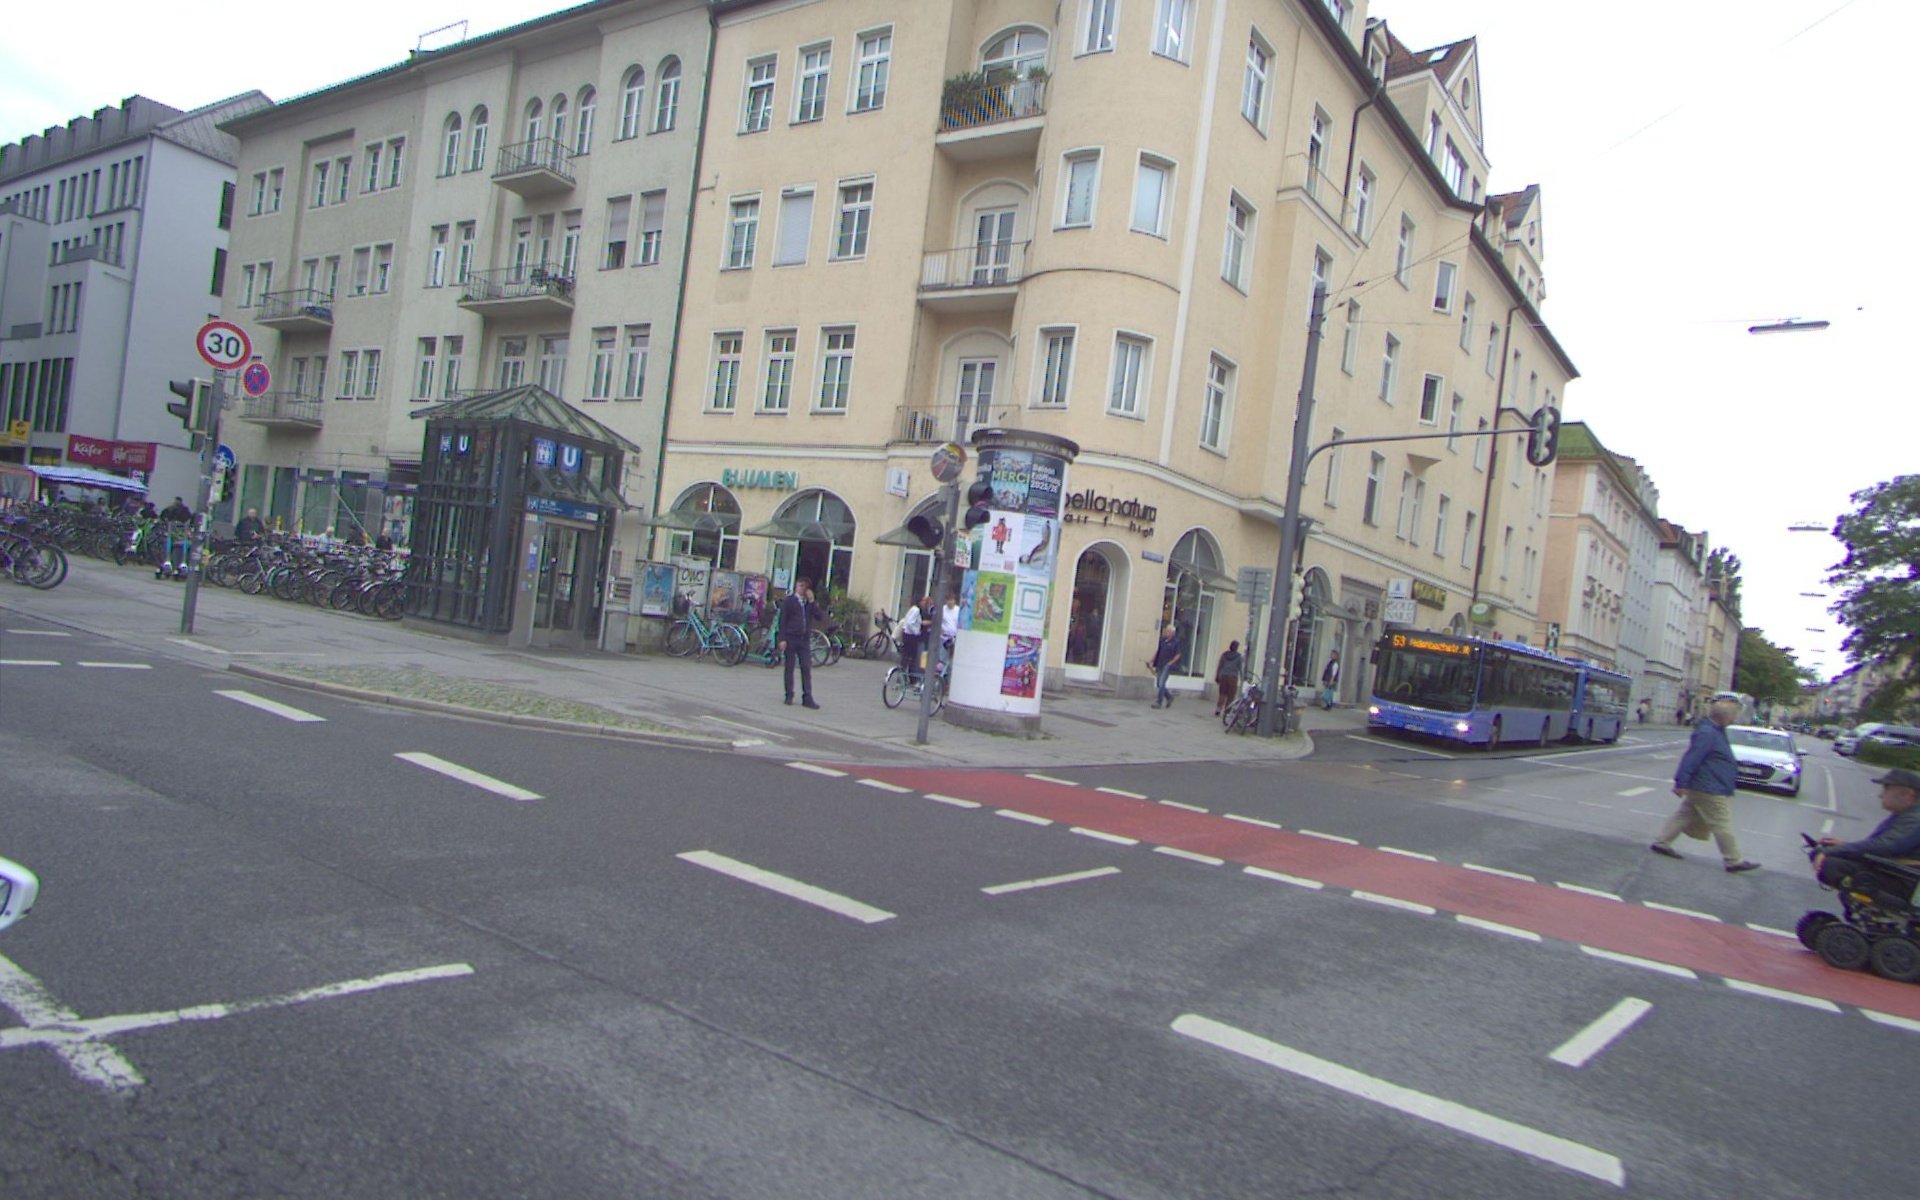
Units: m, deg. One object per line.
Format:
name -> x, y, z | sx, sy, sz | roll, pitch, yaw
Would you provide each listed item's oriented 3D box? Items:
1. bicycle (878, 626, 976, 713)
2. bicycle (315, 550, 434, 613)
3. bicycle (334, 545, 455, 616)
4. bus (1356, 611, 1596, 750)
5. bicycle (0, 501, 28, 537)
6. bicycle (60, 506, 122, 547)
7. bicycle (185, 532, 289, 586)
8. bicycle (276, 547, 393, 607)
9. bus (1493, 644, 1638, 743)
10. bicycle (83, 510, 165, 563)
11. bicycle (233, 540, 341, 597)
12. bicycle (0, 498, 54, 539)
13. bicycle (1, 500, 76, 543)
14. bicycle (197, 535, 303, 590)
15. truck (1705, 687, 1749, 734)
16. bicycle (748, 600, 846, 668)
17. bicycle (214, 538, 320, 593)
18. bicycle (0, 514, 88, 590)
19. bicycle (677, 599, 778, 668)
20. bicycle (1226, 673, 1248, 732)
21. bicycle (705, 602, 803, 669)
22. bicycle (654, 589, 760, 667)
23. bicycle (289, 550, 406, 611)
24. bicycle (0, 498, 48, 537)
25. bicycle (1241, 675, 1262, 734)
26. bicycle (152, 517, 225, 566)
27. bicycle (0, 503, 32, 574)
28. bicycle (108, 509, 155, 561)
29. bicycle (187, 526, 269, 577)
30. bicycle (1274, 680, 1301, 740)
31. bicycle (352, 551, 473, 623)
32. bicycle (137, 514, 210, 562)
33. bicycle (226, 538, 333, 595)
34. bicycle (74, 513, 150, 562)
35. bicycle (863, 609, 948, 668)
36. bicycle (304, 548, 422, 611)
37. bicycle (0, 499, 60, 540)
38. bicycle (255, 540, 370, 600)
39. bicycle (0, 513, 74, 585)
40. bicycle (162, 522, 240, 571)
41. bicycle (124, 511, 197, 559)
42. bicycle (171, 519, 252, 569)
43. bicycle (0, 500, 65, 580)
bicycle -> -0.482, 1.057, 15.247 | 0.516, 1.175, 1.569 | 10, 2, 34
bicycle -> -10.868, -0.321, 18.738 | 0.500, 0.976, 1.841 | 8, 0, 30
bicycle -> -10.344, -0.333, 18.471 | 0.500, 1.107, 1.841 | 8, 0, 30
bus -> 15.818, 2.560, 29.897 | 2.776, 3.003, 13.540 | 9, 1, 42
bicycle -> -28.307, -2.439, 29.421 | 0.363, 0.975, 1.431 | 8, 0, 37
bicycle -> -25.029, -2.121, 28.997 | 0.363, 0.993, 1.246 | 8, 0, 28
bicycle -> -15.773, -0.873, 21.992 | 0.363, 0.976, 1.756 | 8, 0, 32
bicycle -> -12.216, -0.425, 19.707 | 0.500, 0.976, 1.841 | 8, 0, 30
bus -> 23.402, 3.638, 38.556 | 2.776, 3.004, 9.540 | 9, 1, 42
bicycle -> -20.501, -1.539, 24.695 | 0.363, 1.090, 1.419 | 8, 0, 32
bicycle -> -13.802, -0.627, 20.681 | 0.445, 0.976, 1.757 | 8, 0, 30
bicycle -> -26.595, -2.311, 28.507 | 0.364, 0.975, 1.259 | 8, 0, 41
bicycle -> -25.001, -2.123, 27.315 | 0.363, 0.975, 1.405 | 8, 0, 26
bicycle -> -15.220, -0.785, 21.603 | 0.445, 0.976, 1.756 | 8, 0, 32
truck -> 77.372, 11.160, 101.314 | 2.869, 3.961, 18.832 | 7, -1, 39
bicycle -> -3.165, 0.659, 19.472 | 1.833, 1.072, 0.495 | 7, 1, 27
bicycle -> -14.709, -0.715, 21.392 | 0.445, 0.976, 1.757 | 8, 0, 30
bicycle -> -14.756, -0.784, 15.728 | 1.575, 1.041, 0.498 | 8, 1, -11
bicycle -> -4.142, 0.589, 17.888 | 1.835, 0.987, 0.495 | 7, 1, 32
bicycle -> 5.454, 1.992, 19.755 | 0.244, 1.046, 1.584 | 7, 0, 17
bicycle -> -3.794, 0.637, 18.471 | 1.835, 0.987, 0.495 | 7, 1, 32
bicycle -> -4.407, 0.478, 17.468 | 1.835, 1.121, 0.567 | 7, 1, 32
bicycle -> -11.779, -0.357, 19.402 | 0.500, 0.976, 1.841 | 8, 0, 30
bicycle -> -26.998, -2.367, 28.752 | 0.363, 0.975, 1.261 | 8, 0, 34
bicycle -> 5.706, 2.028, 19.694 | 0.244, 1.046, 1.584 | 7, 0, 17
bicycle -> -20.157, -1.523, 26.320 | 0.362, 1.088, 1.430 | 8, 0, 25
bicycle -> -17.188, -1.158, 17.187 | 1.780, 1.172, 0.545 | 8, 0, -21
bicycle -> -19.724, -1.535, 23.965 | 0.365, 1.155, 1.712 | 7, 0, -26
bicycle -> -18.654, -1.233, 25.657 | 0.444, 1.088, 1.551 | 8, 0, 33
bicycle -> 6.412, 2.138, 19.729 | 0.350, 1.046, 1.584 | 7, 0, 17
bicycle -> -9.870, -0.212, 18.198 | 0.500, 1.107, 1.841 | 8, 0, 30
bicycle -> -20.842, -1.636, 26.674 | 0.362, 1.088, 1.430 | 8, 0, 25
bicycle -> -14.182, -0.675, 21.006 | 0.445, 0.976, 1.757 | 8, 0, 30
bicycle -> -20.971, -1.540, 24.887 | 0.363, 1.012, 1.316 | 8, 0, 32
bicycle -> -1.267, 0.885, 23.121 | 1.833, 1.103, 0.495 | 7, 1, 26
bicycle -> -11.275, -0.368, 19.072 | 0.500, 0.976, 1.841 | 8, 0, 30
bicycle -> -25.943, -2.240, 28.062 | 0.362, 0.975, 1.229 | 7, 0, 10
bicycle -> -12.908, -0.574, 20.109 | 0.500, 0.976, 1.841 | 8, 0, 30
bicycle -> -15.339, -0.864, 16.138 | 1.575, 1.041, 0.498 | 8, 1, -11
bicycle -> -19.690, -1.375, 26.131 | 0.362, 1.088, 1.554 | 8, 0, 25
bicycle -> -21.370, -1.728, 26.915 | 0.362, 1.088, 1.430 | 8, 0, 25
bicycle -> -19.230, -1.424, 25.868 | 0.443, 1.088, 1.553 | 8, 0, 27
bicycle -> -15.997, -1.054, 16.515 | 1.777, 1.213, 0.557 | 8, 1, -15
